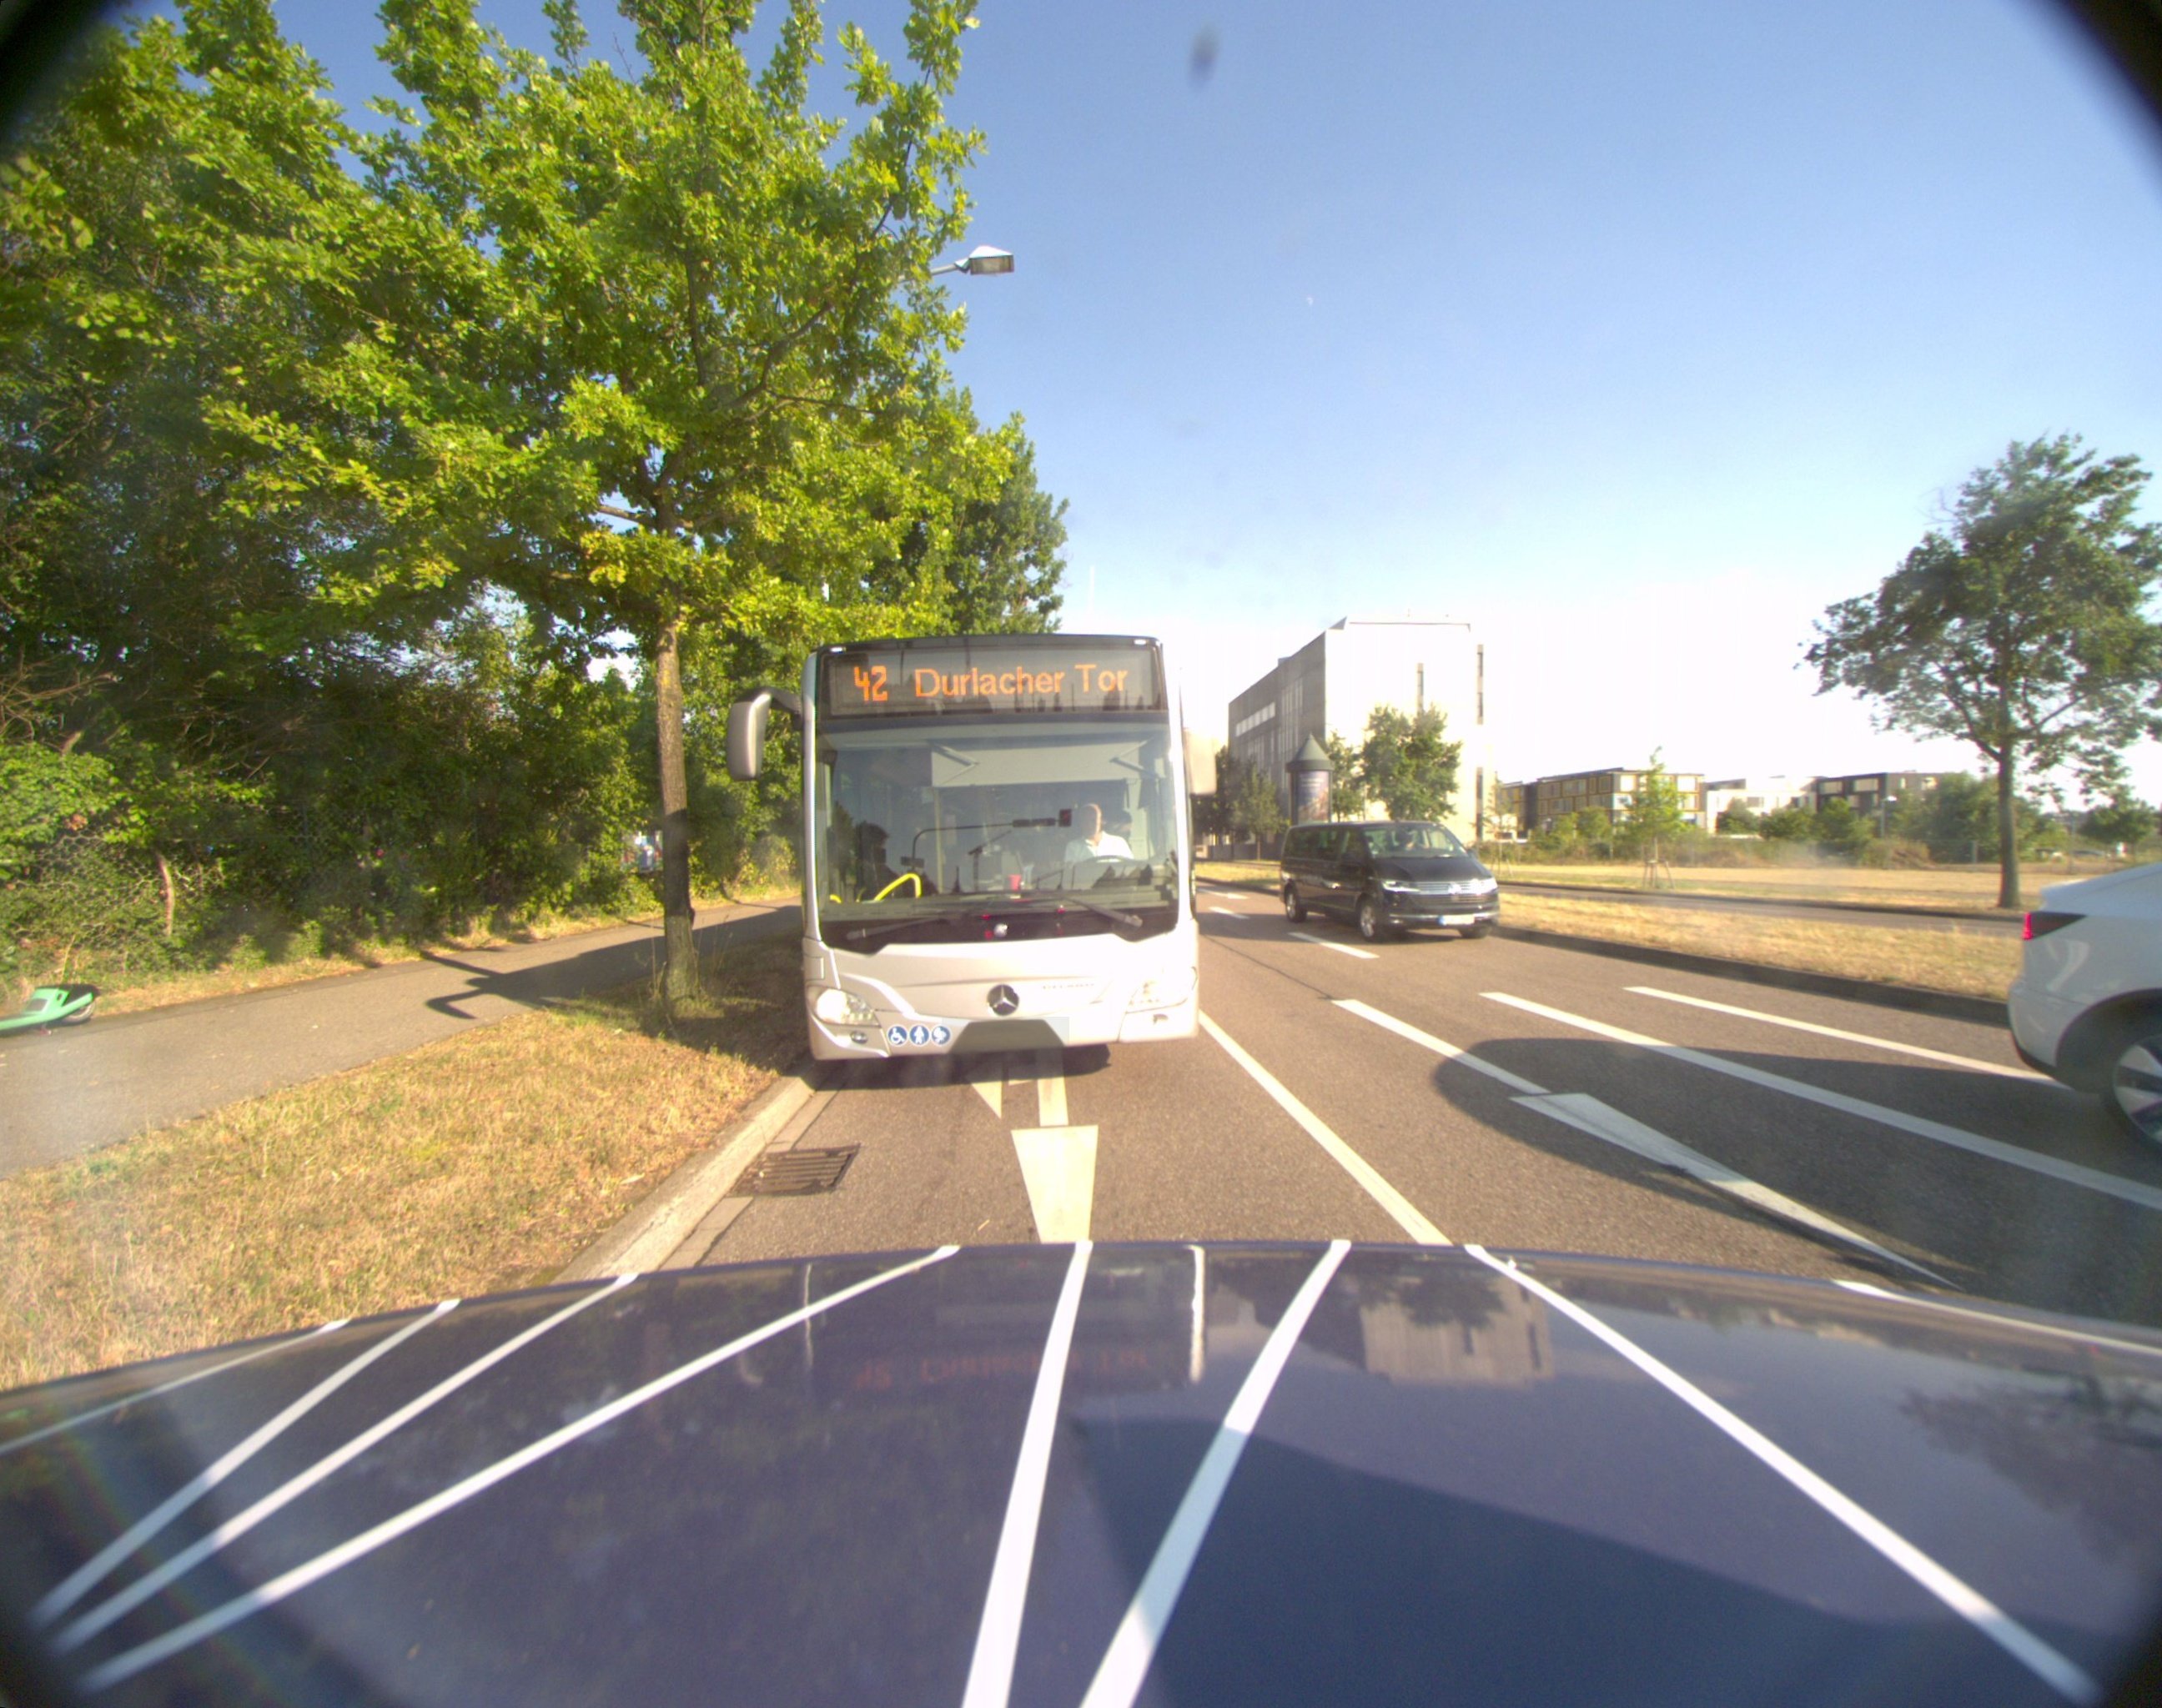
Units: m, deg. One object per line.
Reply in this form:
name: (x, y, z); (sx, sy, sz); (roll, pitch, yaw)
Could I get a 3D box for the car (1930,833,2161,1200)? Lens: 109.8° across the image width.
car: (5.674, 0.702, 1.886); (1.740, 1.590, 4.675); (-2, 0, -4)

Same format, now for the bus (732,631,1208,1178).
bus: (-0.766, 0.250, 10.141); (2.595, 3.025, 11.716); (-1, 0, -2)

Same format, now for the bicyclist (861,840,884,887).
bicyclist: (-8.379, 0.380, 30.528); (0.621, 1.819, 0.829); (6, 0, -10)

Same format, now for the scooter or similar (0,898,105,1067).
scooter or similar: (-7.546, 0.901, 5.218); (0.249, 1.120, 1.095); (2, 1, 1)

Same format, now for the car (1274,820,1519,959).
car: (5.127, 0.475, 13.280); (1.861, 1.921, 5.010); (-2, 1, -4)

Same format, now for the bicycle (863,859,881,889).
bicycle: (-8.389, 0.794, 30.528); (0.416, 1.151, 1.890); (2, 0, -8)
